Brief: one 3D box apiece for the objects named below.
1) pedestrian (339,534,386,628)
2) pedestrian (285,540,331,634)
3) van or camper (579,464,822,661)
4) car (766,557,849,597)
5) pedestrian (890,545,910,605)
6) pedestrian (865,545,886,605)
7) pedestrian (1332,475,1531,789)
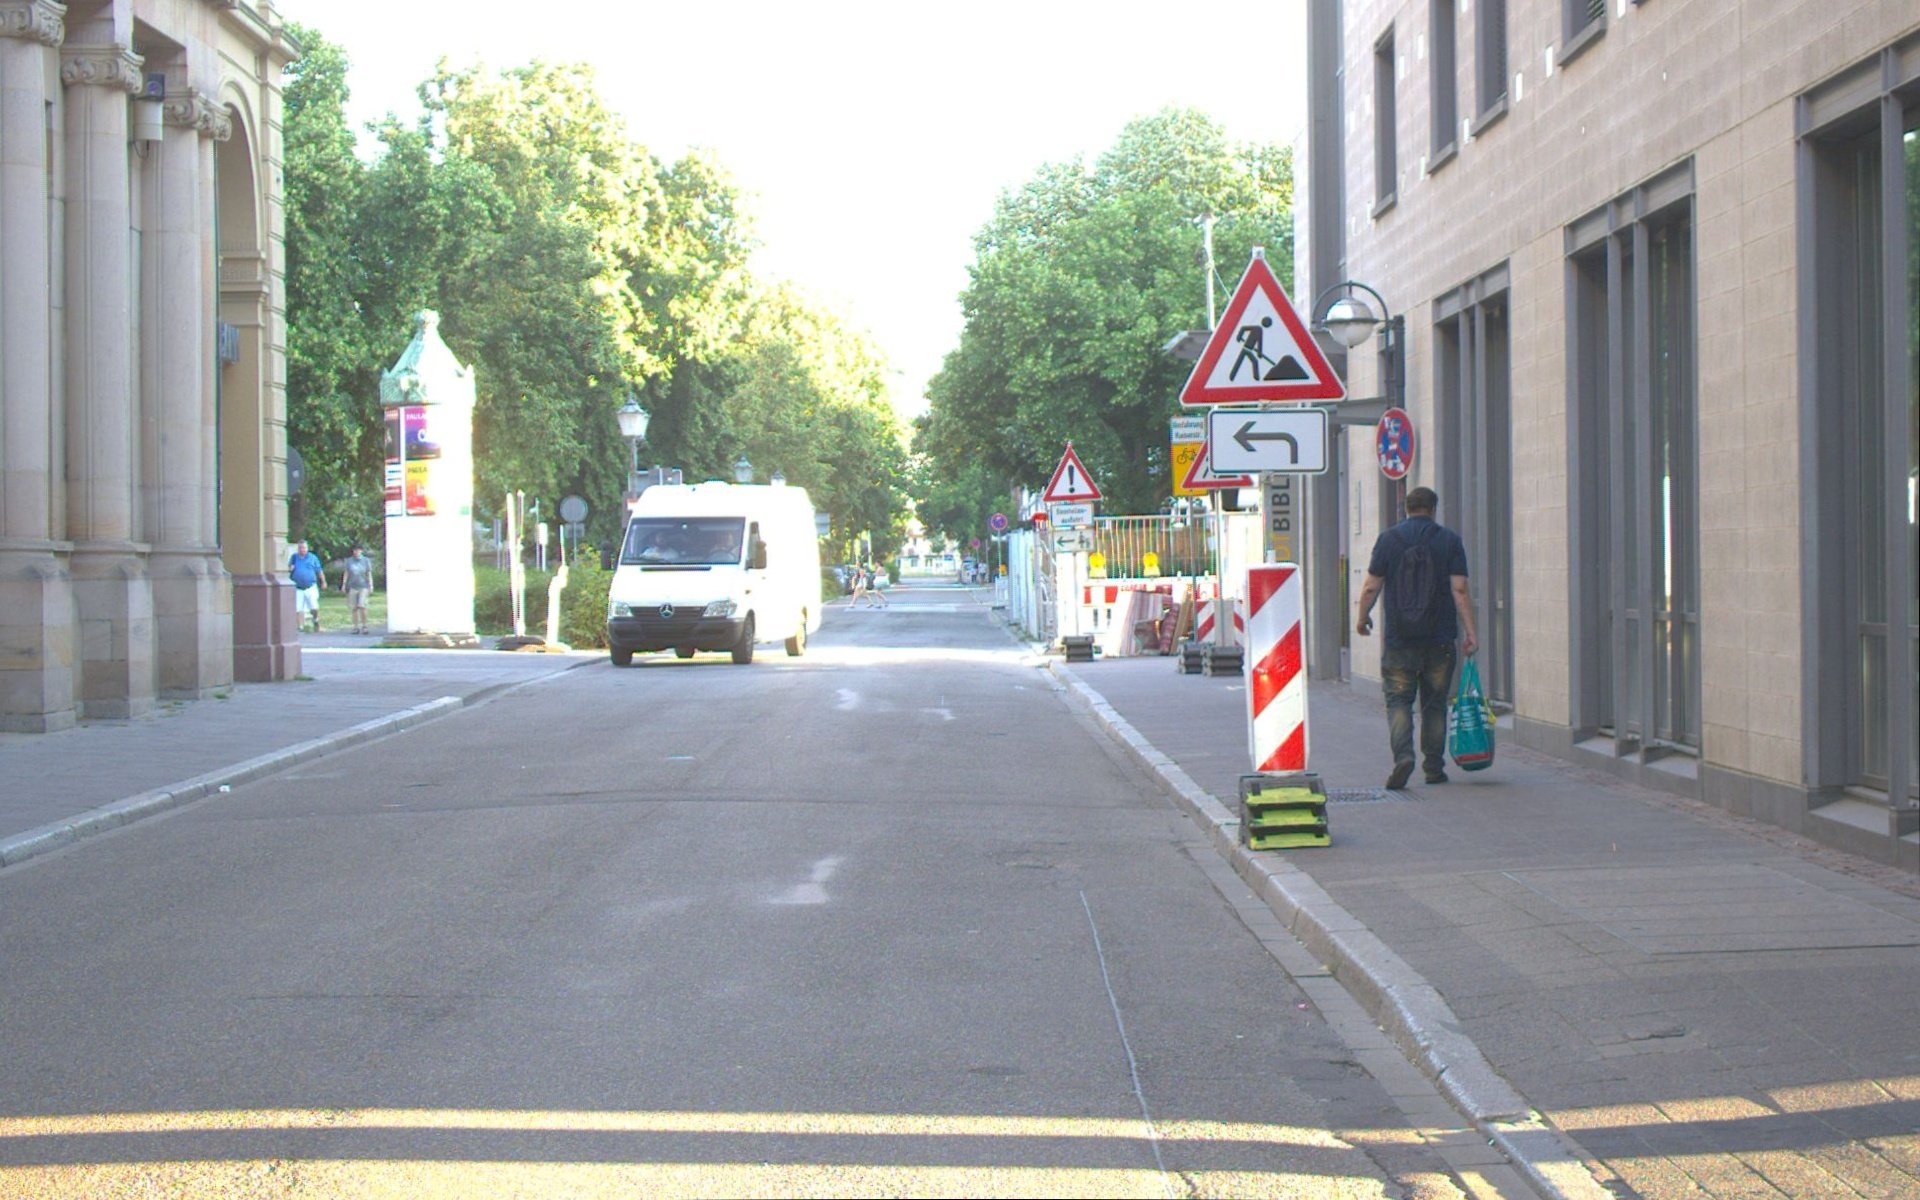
[{"bbox_3d":[-11.572,-0.369,66.550,0.849,1.801,0.664,0,1,-13],"label":"pedestrian"},{"bbox_3d":[-12.573,-0.256,66.255,0.849,1.801,0.664,0,1,-13],"label":"pedestrian"},{"bbox_3d":[-3.535,-0.551,48.280,2.219,2.576,6.370,0,1,7],"label":"van or camper"},{"bbox_3d":[-7.138,-1.082,160.996,3.564,1.777,1.789,-1,0,9],"label":"car"},{"bbox_3d":[-2.010,-0.853,115.479,0.581,2.007,0.682,0,1,-8],"label":"pedestrian"},{"bbox_3d":[-2.844,-0.836,115.896,0.609,2.007,0.905,0,1,-8],"label":"pedestrian"},{"bbox_3d":[2.795,0.185,20.454,1.000,1.797,0.882,-2,0,-1],"label":"pedestrian"}]
